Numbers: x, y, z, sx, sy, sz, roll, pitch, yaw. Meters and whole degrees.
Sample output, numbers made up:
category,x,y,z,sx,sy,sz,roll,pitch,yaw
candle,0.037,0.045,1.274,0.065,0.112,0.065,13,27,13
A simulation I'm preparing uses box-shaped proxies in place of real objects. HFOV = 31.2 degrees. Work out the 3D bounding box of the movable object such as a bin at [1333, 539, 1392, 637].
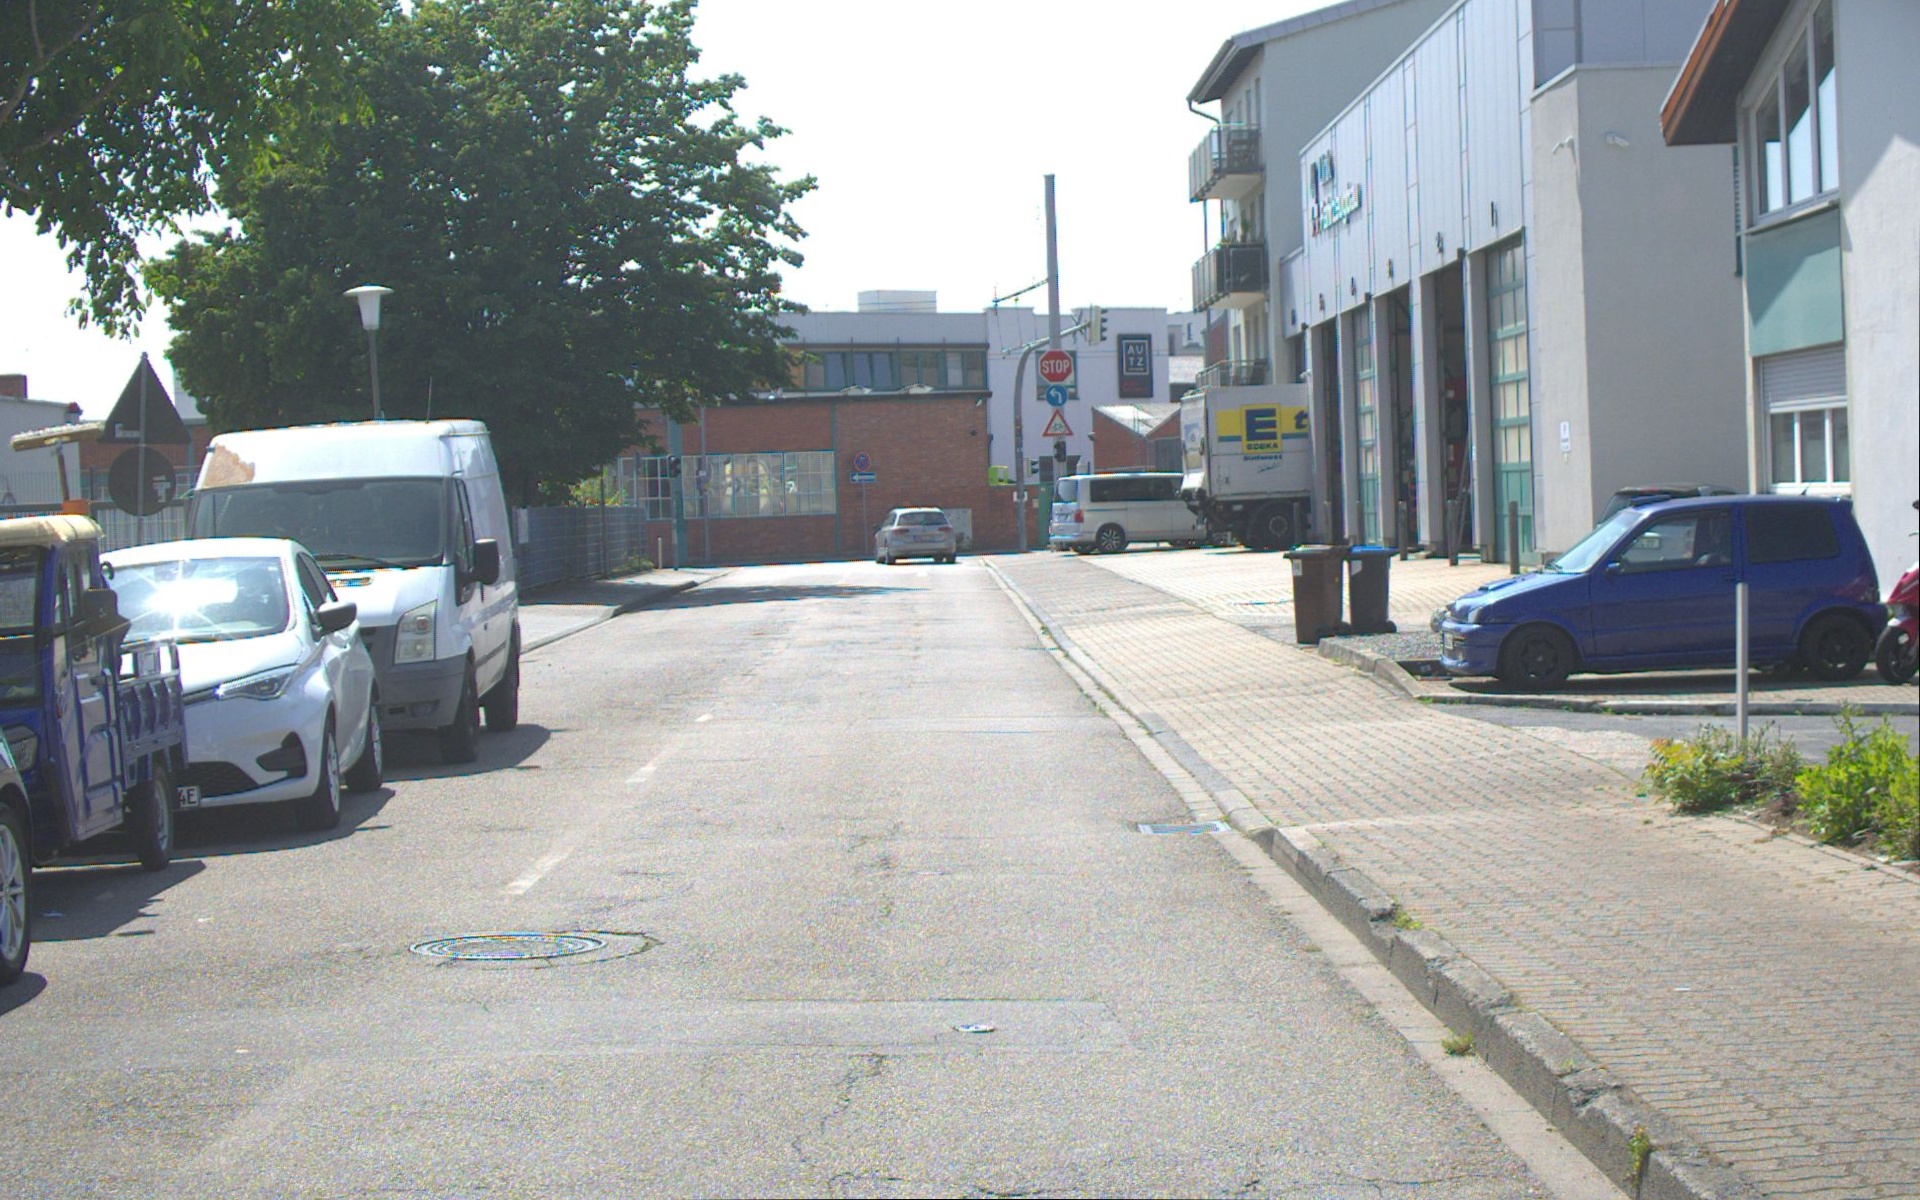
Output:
category,x,y,z,sx,sy,sz,roll,pitch,yaw
movable object such as a bin,3.988,-0.122,34.038,0.514,0.943,0.487,-2,2,11

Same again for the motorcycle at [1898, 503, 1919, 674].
category,x,y,z,sx,sy,sz,roll,pitch,yaw
motorcycle,8.055,-0.134,25.749,1.749,1.275,0.797,-4,1,-9

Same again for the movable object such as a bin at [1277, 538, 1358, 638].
category,x,y,z,sx,sy,sz,roll,pitch,yaw
movable object such as a bin,3.498,-0.121,33.626,0.568,0.943,0.556,-1,2,33

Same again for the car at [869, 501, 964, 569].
category,x,y,z,sx,sy,sz,roll,pitch,yaw
car,-1.177,-1.713,90.486,1.890,1.679,3.959,-2,1,-9

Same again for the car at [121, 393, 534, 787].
category,x,y,z,sx,sy,sz,roll,pitch,yaw
car,-4.304,-0.133,24.273,2.005,2.358,5.230,-4,2,-2

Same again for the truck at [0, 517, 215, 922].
category,x,y,z,sx,sy,sz,roll,pitch,yaw
truck,-4.253,0.475,15.496,1.138,1.616,3.142,-4,2,-3

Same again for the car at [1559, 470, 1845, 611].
category,x,y,z,sx,sy,sz,roll,pitch,yaw
car,9.052,-0.740,41.770,1.777,1.534,3.694,-1,2,41

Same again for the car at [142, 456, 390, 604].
category,x,y,z,sx,sy,sz,roll,pitch,yaw
car,-12.507,-1.278,62.130,4.085,2.504,1.777,-2,2,-2

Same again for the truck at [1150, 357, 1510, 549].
category,x,y,z,sx,sy,sz,roll,pitch,yaw
truck,8.259,-3.291,77.179,7.358,3.632,2.768,-5,2,-6

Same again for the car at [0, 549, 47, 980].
category,x,y,z,sx,sy,sz,roll,pitch,yaw
car,-4.115,0.640,10.213,1.704,1.458,4.114,-3,1,-1

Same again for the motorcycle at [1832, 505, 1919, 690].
category,x,y,z,sx,sy,sz,roll,pitch,yaw
motorcycle,7.354,-0.063,24.745,1.869,1.275,0.797,-3,1,-3

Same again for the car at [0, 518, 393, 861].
category,x,y,z,sx,sy,sz,roll,pitch,yaw
car,-4.208,0.407,19.105,1.704,1.618,3.974,-3,1,-5

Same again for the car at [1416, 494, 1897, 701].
category,x,y,z,sx,sy,sz,roll,pitch,yaw
car,5.204,-0.039,25.958,3.253,1.394,1.673,-2,2,0

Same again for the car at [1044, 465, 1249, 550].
category,x,y,z,sx,sy,sz,roll,pitch,yaw
car,4.626,-2.302,85.525,4.653,1.951,1.917,-2,2,-19

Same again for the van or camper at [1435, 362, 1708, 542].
category,x,y,z,sx,sy,sz,roll,pitch,yaw
van or camper,11.778,-2.842,66.412,4.755,3.277,2.000,-2,2,-4
